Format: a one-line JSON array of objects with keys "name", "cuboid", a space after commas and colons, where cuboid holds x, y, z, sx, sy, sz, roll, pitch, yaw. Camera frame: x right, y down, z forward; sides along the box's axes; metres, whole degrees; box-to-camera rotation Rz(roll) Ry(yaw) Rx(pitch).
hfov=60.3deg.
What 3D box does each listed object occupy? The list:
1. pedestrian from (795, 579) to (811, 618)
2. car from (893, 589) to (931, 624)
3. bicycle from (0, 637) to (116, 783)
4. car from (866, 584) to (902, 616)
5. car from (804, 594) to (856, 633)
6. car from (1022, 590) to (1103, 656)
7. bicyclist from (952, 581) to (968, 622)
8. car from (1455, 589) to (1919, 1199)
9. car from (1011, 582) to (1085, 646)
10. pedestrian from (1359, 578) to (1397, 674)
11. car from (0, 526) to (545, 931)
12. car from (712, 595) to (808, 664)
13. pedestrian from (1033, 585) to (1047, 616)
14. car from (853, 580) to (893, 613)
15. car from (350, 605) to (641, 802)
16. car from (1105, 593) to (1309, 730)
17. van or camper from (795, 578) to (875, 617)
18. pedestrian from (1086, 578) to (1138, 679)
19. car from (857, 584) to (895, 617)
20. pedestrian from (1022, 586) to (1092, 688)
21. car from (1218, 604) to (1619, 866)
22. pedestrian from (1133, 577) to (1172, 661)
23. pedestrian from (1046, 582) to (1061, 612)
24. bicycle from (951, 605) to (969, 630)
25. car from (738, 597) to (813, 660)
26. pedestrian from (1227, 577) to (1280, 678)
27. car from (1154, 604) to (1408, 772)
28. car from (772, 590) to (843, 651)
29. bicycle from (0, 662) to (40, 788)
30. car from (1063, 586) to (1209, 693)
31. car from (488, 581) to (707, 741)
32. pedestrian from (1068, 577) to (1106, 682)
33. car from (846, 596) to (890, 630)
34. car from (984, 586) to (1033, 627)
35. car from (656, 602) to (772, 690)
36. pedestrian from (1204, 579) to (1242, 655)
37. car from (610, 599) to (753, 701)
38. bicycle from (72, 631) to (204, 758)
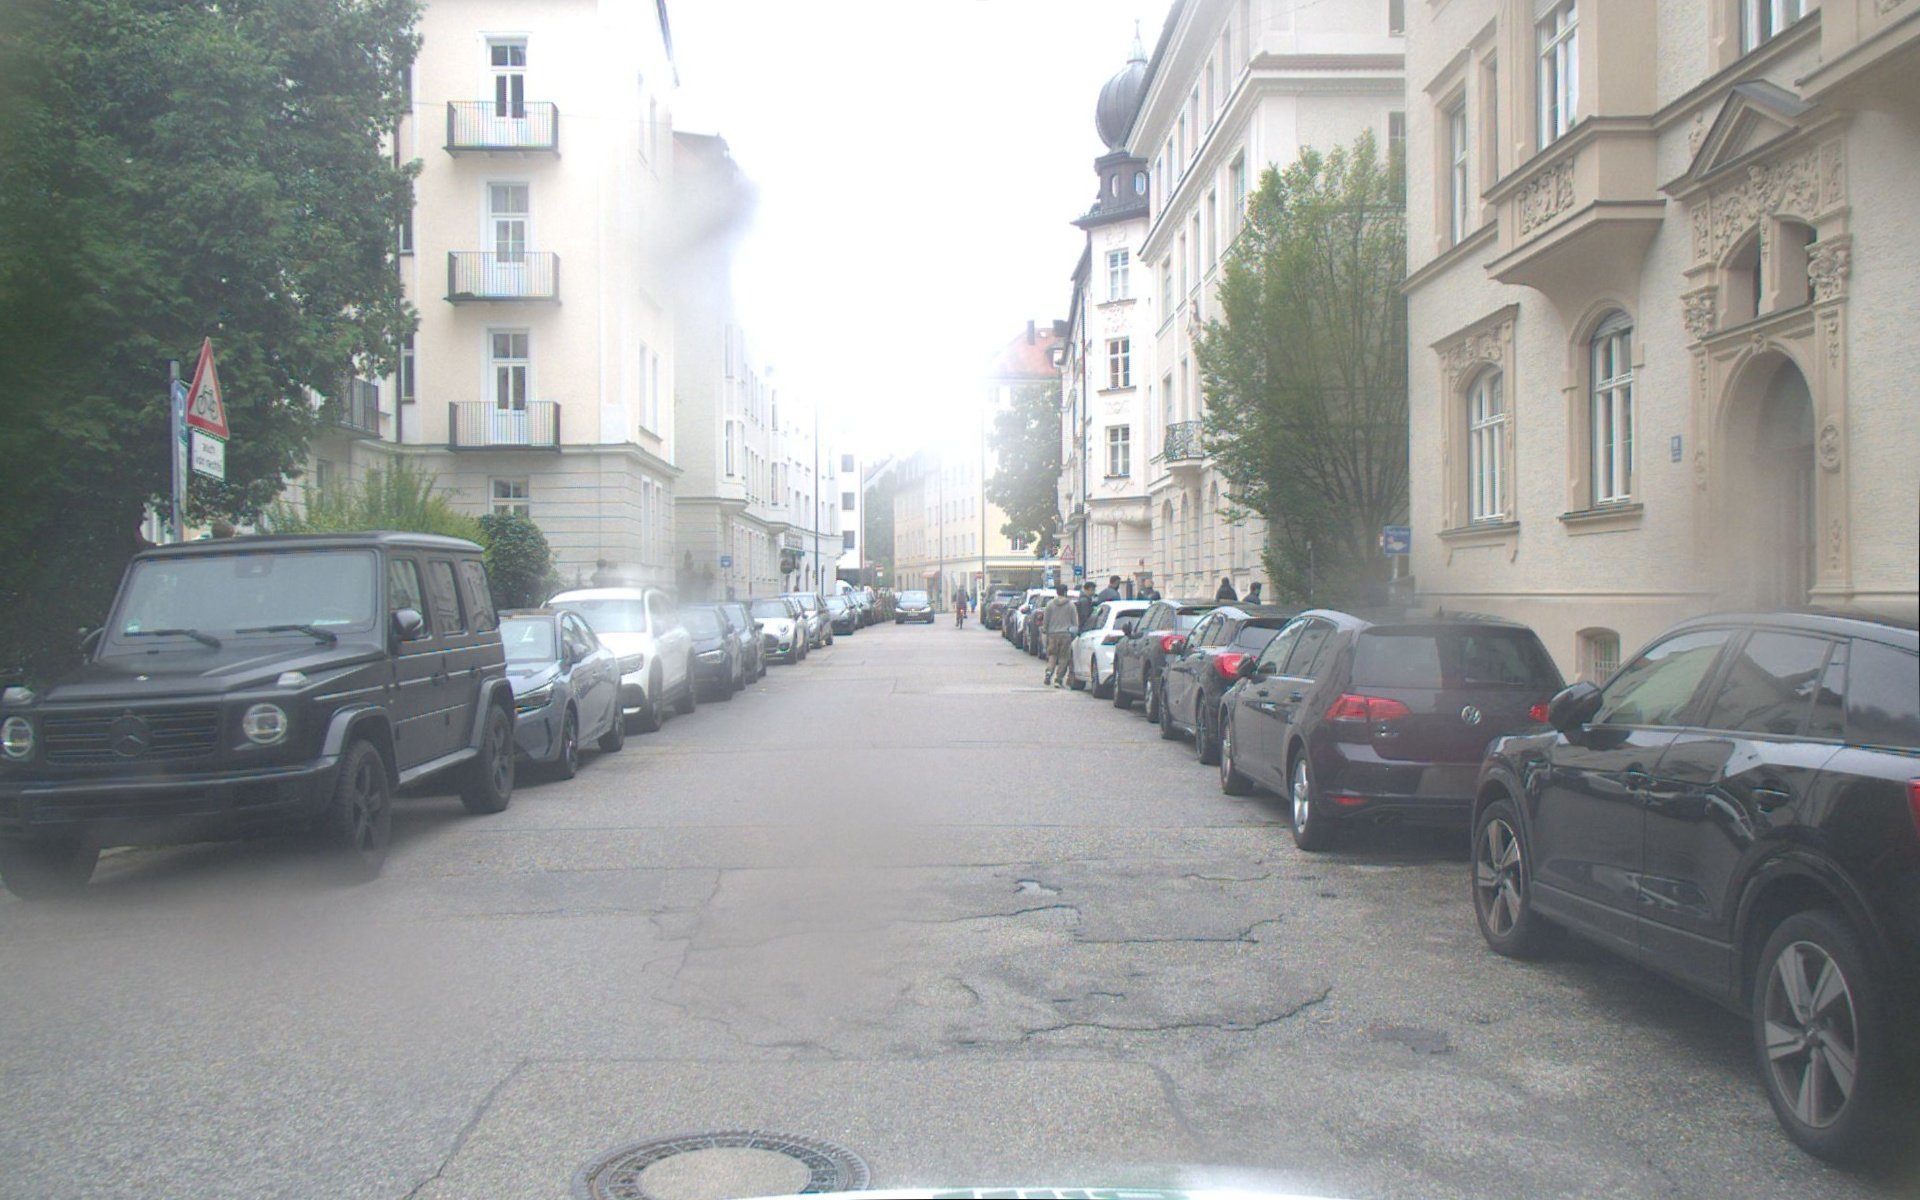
[{"name": "pedestrian", "cuboid": [-7.009, -0.051, 74.017, 0.684, 1.737, 0.665, 0, 0, -3]}, {"name": "car", "cuboid": [-2.317, 0.298, 80.101, 1.689, 1.560, 4.085, -3, 0, -1]}, {"name": "bicycle", "cuboid": [-7.950, 0.911, 14.282, 0.479, 1.116, 1.787, 0, 1, -2]}, {"name": "car", "cuboid": [-4.480, -0.019, 98.118, 1.839, 1.815, 4.001, -1, 0, 2]}, {"name": "car", "cuboid": [-4.836, 0.484, 62.013, 1.813, 1.391, 4.699, 0, 0, -3]}, {"name": "car", "cuboid": [2.486, 0.524, 41.056, 1.713, 1.551, 4.169, 0, 0, -1]}, {"name": "bicyclist", "cuboid": [0.006, 0.067, 67.482, 0.593, 1.635, 0.758, -1, 0, 3]}, {"name": "car", "cuboid": [3.208, 0.745, 5.787, 1.707, 1.542, 3.957, 1, 0, -1]}, {"name": "car", "cuboid": [2.456, 0.360, 46.924, 1.856, 1.665, 4.391, -1, 1, 0]}, {"name": "pedestrian", "cuboid": [8.043, 0.503, 31.857, 0.560, 1.825, 0.554, -1, 0, -3]}, {"name": "car", "cuboid": [-4.118, 0.604, 10.377, 1.873, 1.919, 4.816, -1, 0, -1]}, {"name": "car", "cuboid": [-4.474, 0.636, 37.510, 1.760, 1.460, 4.078, 0, 0, -1]}, {"name": "pedestrian", "cuboid": [4.569, 0.004, 94.749, 0.689, 1.758, 0.703, -2, 0, -3]}, {"name": "car", "cuboid": [-4.080, -0.174, 77.852, 1.706, 1.513, 4.180, -1, 0, -1]}, {"name": "car", "cuboid": [-4.097, 0.832, 15.208, 1.610, 1.455, 3.917, -4, 0, -2]}, {"name": "car", "cuboid": [3.112, 0.720, 21.653, 1.756, 1.524, 4.079, 2, 1, -4]}, {"name": "van or camper", "cuboid": [-9.300, -0.163, 122.807, 5.795, 2.724, 1.869, -1, -2, -9]}, {"name": "pedestrian", "cuboid": [2.754, 0.508, 30.060, 0.864, 1.800, 0.672, 0, 0, -2]}, {"name": "car", "cuboid": [-4.740, 0.028, 93.403, 1.804, 1.788, 4.001, -1, 0, 2]}, {"name": "pedestrian", "cuboid": [1.641, 0.609, 27.972, 0.850, 1.687, 0.849, 0, -1, 38]}, {"name": "car", "cuboid": [2.884, 0.763, 11.276, 1.608, 1.442, 4.000, 0, 0, 0]}, {"name": "pedestrian", "cuboid": [4.297, 0.416, 37.003, 0.668, 1.806, 0.855, -3, 1, 0]}, {"name": "pedestrian", "cuboid": [5.368, -0.190, 95.011, 0.666, 1.703, 0.654, -3, 0, -3]}, {"name": "bicycle", "cuboid": [0.012, 0.705, 67.428, 0.626, 1.022, 1.575, -1, 0, 3]}, {"name": "car", "cuboid": [-4.640, 0.683, 42.030, 1.612, 1.427, 3.997, -3, 0, -3]}, {"name": "pedestrian", "cuboid": [5.442, 0.503, 30.679, 0.842, 1.849, 0.678, 0, 0, -2]}, {"name": "car", "cuboid": [3.039, 0.792, 16.461, 1.706, 1.422, 4.022, 2, -1, 0]}, {"name": "car", "cuboid": [-4.405, 0.558, 48.367, 1.662, 1.608, 4.061, -3, 1, -1]}, {"name": "bicycle", "cuboid": [-7.897, 1.025, 13.031, 0.441, 0.968, 1.636, 0, 2, -3]}, {"name": "car", "cuboid": [2.672, 0.687, 25.956, 1.630, 1.534, 4.061, 0, -3, -3]}, {"name": "car", "cuboid": [-4.287, 0.647, 20.258, 1.770, 1.677, 4.484, -2, 0, -2]}, {"name": "pedestrian", "cuboid": [2.195, 0.501, 28.580, 0.614, 1.800, 0.673, 0, 0, 2]}, {"name": "car", "cuboid": [-4.094, 0.546, 73.083, 1.775, 1.409, 4.439, -2, 0, -4]}, {"name": "car", "cuboid": [1.963, 0.249, 67.986, 1.673, 1.615, 3.998, 1, 0, -3]}, {"name": "car", "cuboid": [-4.408, 0.779, 30.158, 1.701, 1.388, 4.190, -2, 1, -4]}, {"name": "pedestrian", "cuboid": [6.112, 0.387, 38.420, 0.668, 1.708, 0.812, -3, 1, -2]}, {"name": "car", "cuboid": [-4.196, 0.708, 25.457, 1.733, 1.445, 3.997, 0, 0, -3]}, {"name": "bicycle", "cuboid": [-8.000, 0.889, 16.171, 0.479, 1.116, 1.765, 0, 1, -2]}]
